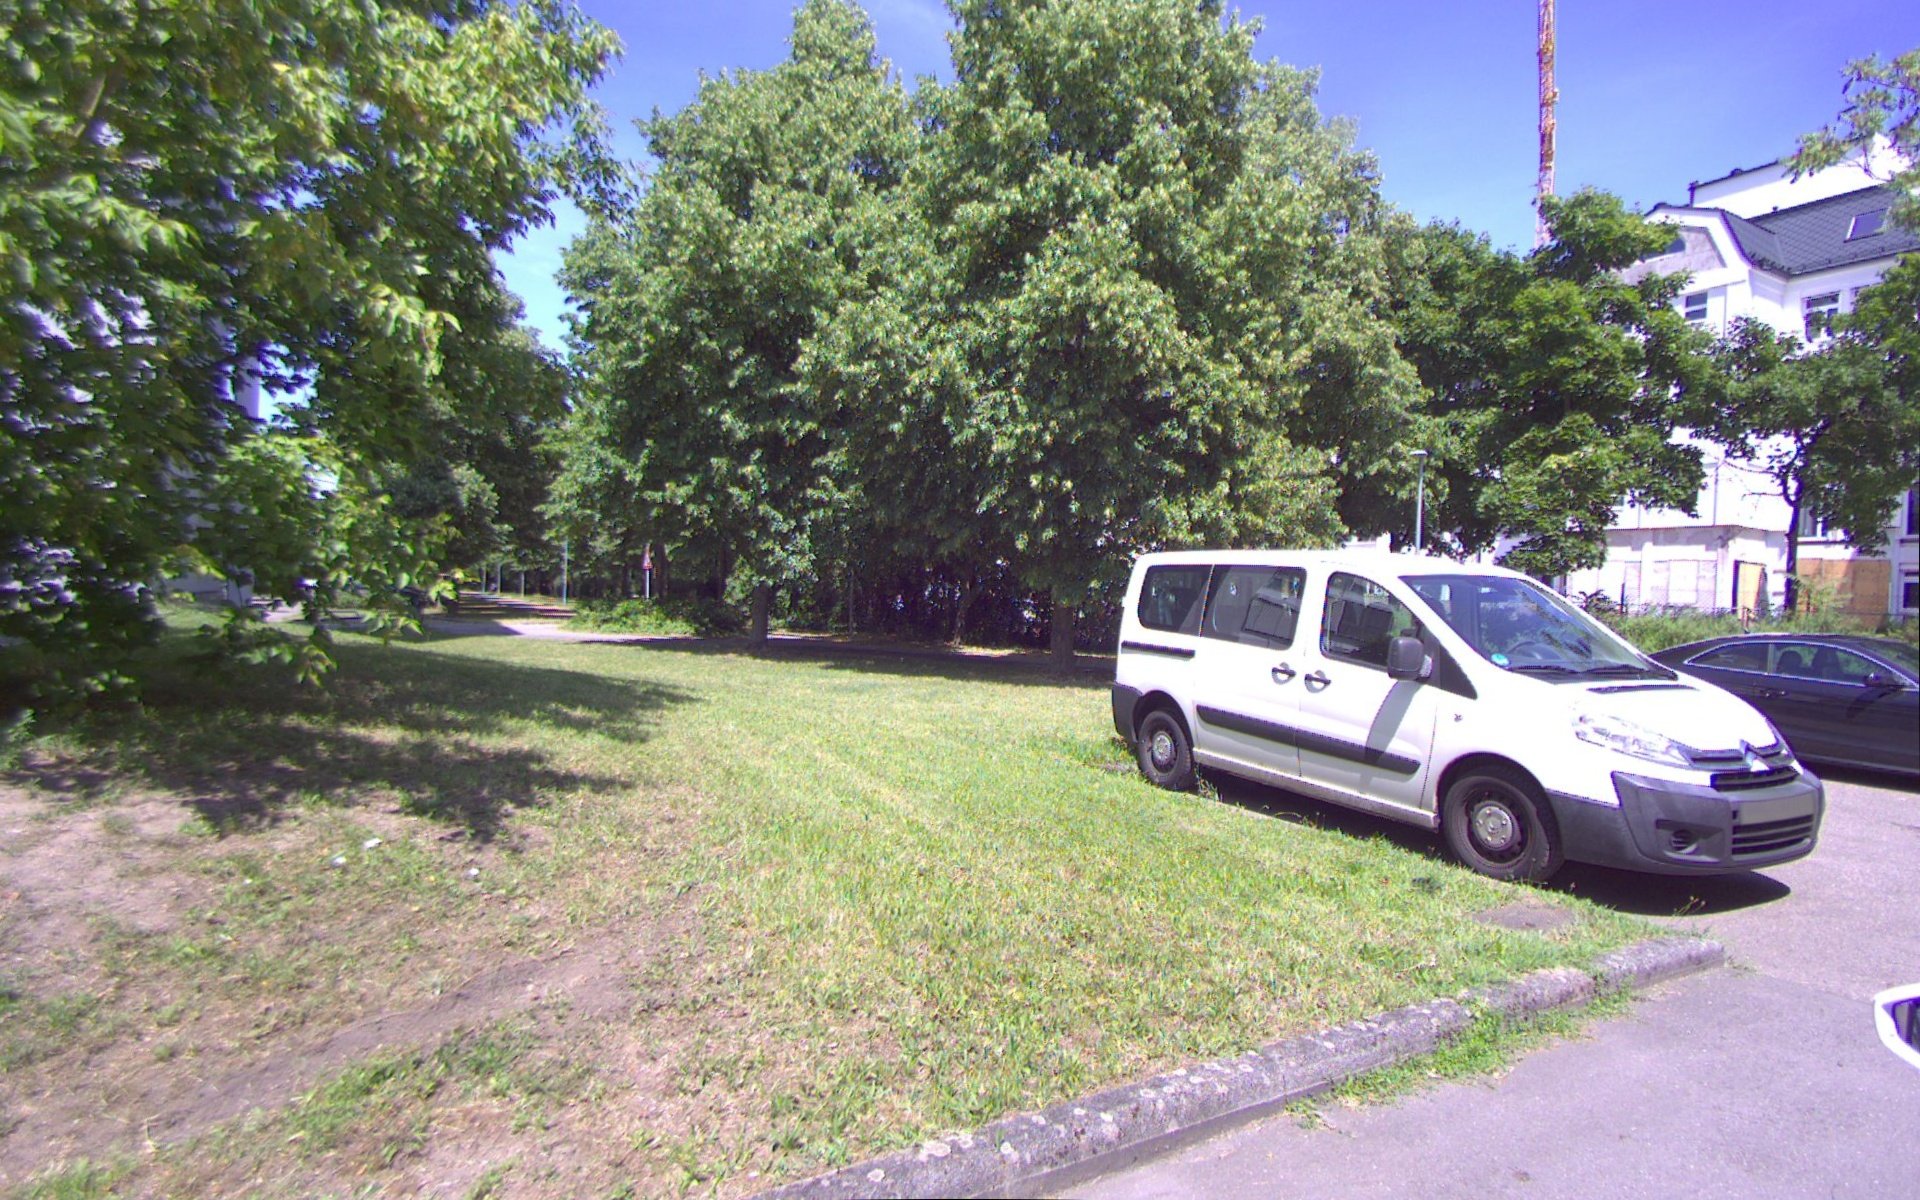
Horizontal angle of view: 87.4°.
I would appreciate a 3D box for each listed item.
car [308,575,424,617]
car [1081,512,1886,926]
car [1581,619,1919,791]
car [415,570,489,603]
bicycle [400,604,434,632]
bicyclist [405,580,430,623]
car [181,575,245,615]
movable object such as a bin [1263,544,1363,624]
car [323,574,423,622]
[{"bbox_3d":[-26.215,-0.181,44.434,4.294,1.631,1.917,3,0,-32],"label":"car"},{"bbox_3d":[3.108,0.555,7.252,2.041,1.908,4.829,3,0,-27],"label":"car"},{"bbox_3d":[8.962,1.004,9.917,1.998,1.398,4.413,3,0,-27],"label":"car"},{"bbox_3d":[-31.959,-0.842,63.223,3.956,1.790,1.815,3,0,-32],"label":"car"},{"bbox_3d":[-13.648,0.438,25.265,0.725,0.650,1.604,0,1,-28],"label":"bicycle"},{"bbox_3d":[-13.644,0.039,25.267,0.511,1.059,0.518,-1,1,-27],"label":"bicyclist"},{"bbox_3d":[-33.842,-0.238,45.471,1.796,1.624,3.843,3,0,-44],"label":"car"},{"bbox_3d":[20.869,-0.956,59.656,1.974,4.430,5.686,3,0,-25],"label":"movable object such as a bin"},{"bbox_3d":[-27.897,-0.097,47.796,3.956,2.040,1.982,3,0,-32],"label":"car"}]
